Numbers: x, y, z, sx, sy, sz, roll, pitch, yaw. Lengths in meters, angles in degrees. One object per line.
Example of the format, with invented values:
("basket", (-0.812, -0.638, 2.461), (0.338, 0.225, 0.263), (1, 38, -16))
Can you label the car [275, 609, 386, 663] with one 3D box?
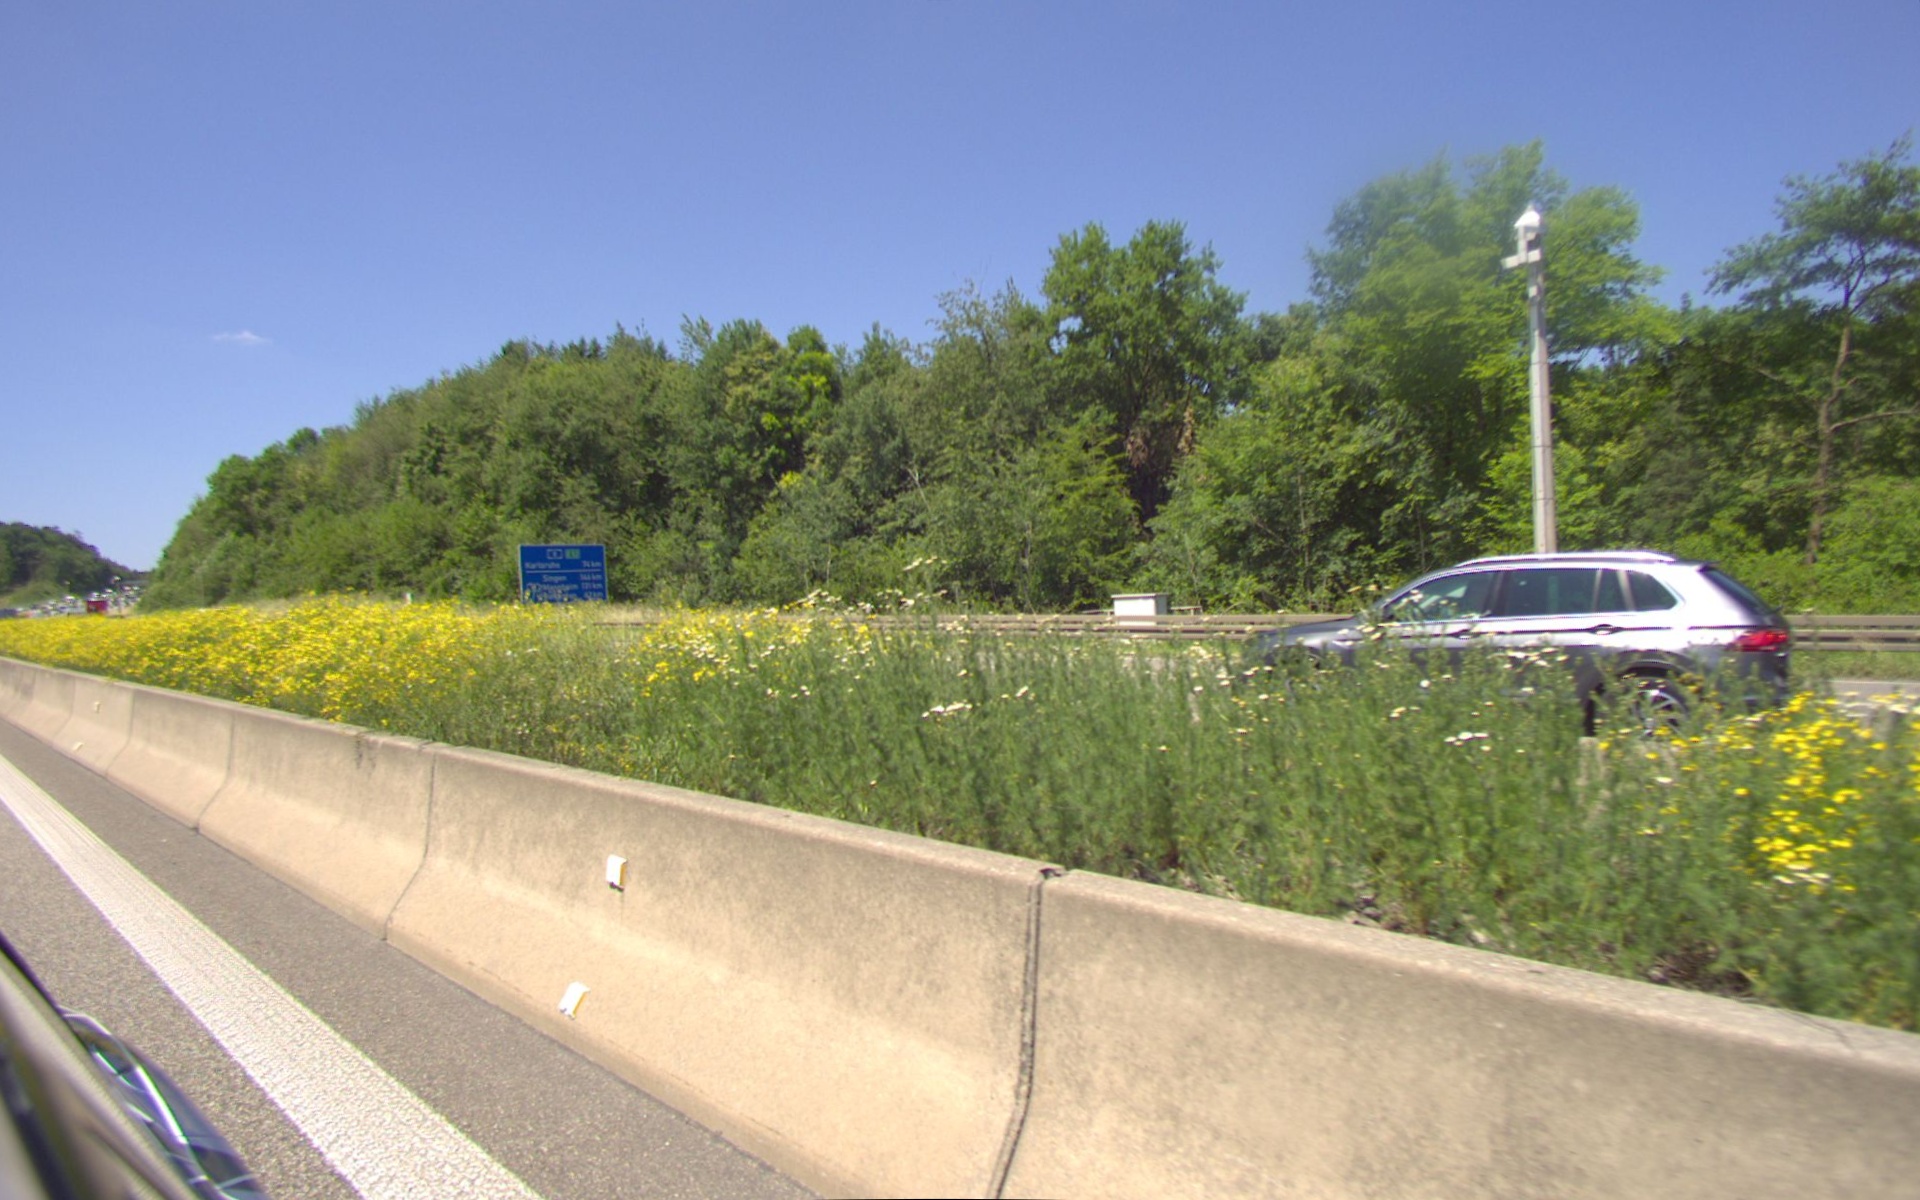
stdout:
("car", (-19.275, 1.078, 30.933), (3.998, 1.500, 1.786), (-2, 0, 41))

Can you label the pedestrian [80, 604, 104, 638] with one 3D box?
("pedestrian", (-35.298, 0.862, 41.149), (0.531, 1.375, 0.655), (-2, -1, 41))

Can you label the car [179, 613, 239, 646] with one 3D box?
("car", (-43.193, 1.672, 58.179), (4.320, 1.778, 1.862), (-2, 0, 41))

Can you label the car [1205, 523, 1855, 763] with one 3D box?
("car", (4.744, 0.299, 8.917), (4.637, 1.573, 1.973), (-1, 0, 41))

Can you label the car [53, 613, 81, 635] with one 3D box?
("car", (-112.367, 2.962, 127.323), (5.975, 2.643, 2.133), (-1, -1, 43))

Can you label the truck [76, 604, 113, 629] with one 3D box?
("truck", (-136.499, 2.545, 159.527), (3.875, 3.746, 16.758), (0, -1, -43))

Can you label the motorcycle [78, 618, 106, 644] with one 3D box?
("motorcycle", (-35.289, 1.259, 41.150), (1.475, 1.049, 0.660), (-2, 0, 41))

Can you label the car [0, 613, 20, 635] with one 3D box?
("car", (-90.005, 2.253, 95.034), (6.186, 2.029, 2.296), (-1, -1, 45))

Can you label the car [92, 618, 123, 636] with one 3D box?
("car", (-79.614, 2.518, 94.532), (4.118, 1.641, 1.756), (-1, -1, 43))

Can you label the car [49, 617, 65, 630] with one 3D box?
("car", (-169.153, 4.431, 189.601), (4.001, 2.417, 1.971), (-2, 0, 44))

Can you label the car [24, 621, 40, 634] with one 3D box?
("car", (-171.198, 5.088, 186.706), (1.971, 2.417, 4.002), (0, -1, -45))
